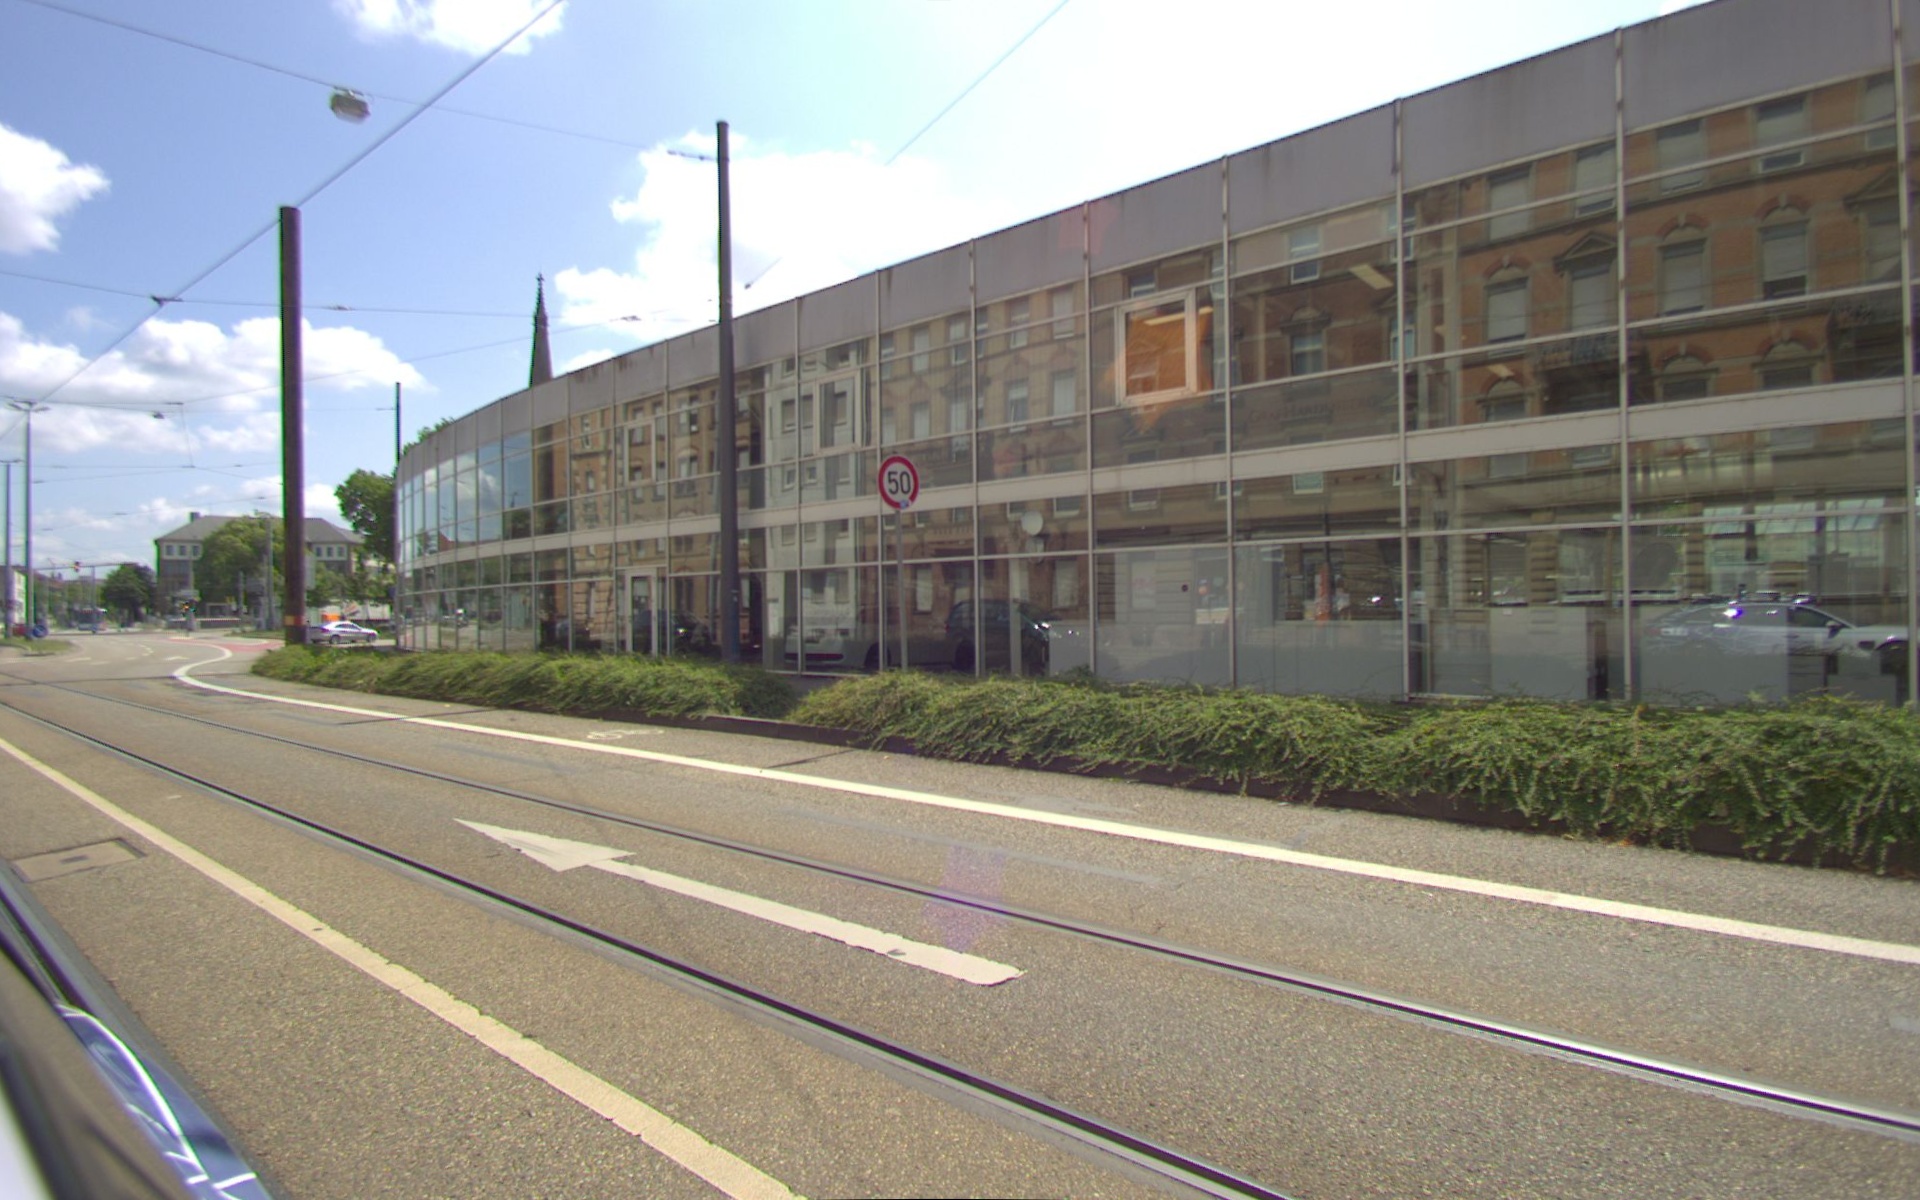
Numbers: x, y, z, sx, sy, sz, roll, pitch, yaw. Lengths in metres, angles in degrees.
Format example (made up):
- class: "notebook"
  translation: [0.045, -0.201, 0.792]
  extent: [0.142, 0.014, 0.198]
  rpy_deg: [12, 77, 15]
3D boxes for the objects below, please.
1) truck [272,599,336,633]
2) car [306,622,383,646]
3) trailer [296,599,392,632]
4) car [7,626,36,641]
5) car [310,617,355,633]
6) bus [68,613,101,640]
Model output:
- class: "truck"
  translation: [-83.195, 1.990, 128.467]
  extent: [2.931, 4.150, 6.857]
  rpy_deg: [-1, -1, 10]
- class: "car"
  translation: [-39.664, 2.156, 65.351]
  extent: [1.804, 1.431, 4.166]
  rpy_deg: [-1, -1, 15]
- class: "trailer"
  translation: [-82.063, 2.054, 135.228]
  extent: [2.916, 4.107, 13.378]
  rpy_deg: [-1, -1, 9]
- class: "car"
  translation: [-90.119, 3.207, 97.164]
  extent: [3.900, 1.439, 1.684]
  rpy_deg: [-2, -2, 42]
- class: "car"
  translation: [-75.338, 3.037, 121.516]
  extent: [1.902, 1.880, 4.340]
  rpy_deg: [-1, -2, 19]
- class: "bus"
  translation: [-118.359, 3.591, 136.873]
  extent: [2.904, 3.474, 7.963]
  rpy_deg: [0, -1, -38]
